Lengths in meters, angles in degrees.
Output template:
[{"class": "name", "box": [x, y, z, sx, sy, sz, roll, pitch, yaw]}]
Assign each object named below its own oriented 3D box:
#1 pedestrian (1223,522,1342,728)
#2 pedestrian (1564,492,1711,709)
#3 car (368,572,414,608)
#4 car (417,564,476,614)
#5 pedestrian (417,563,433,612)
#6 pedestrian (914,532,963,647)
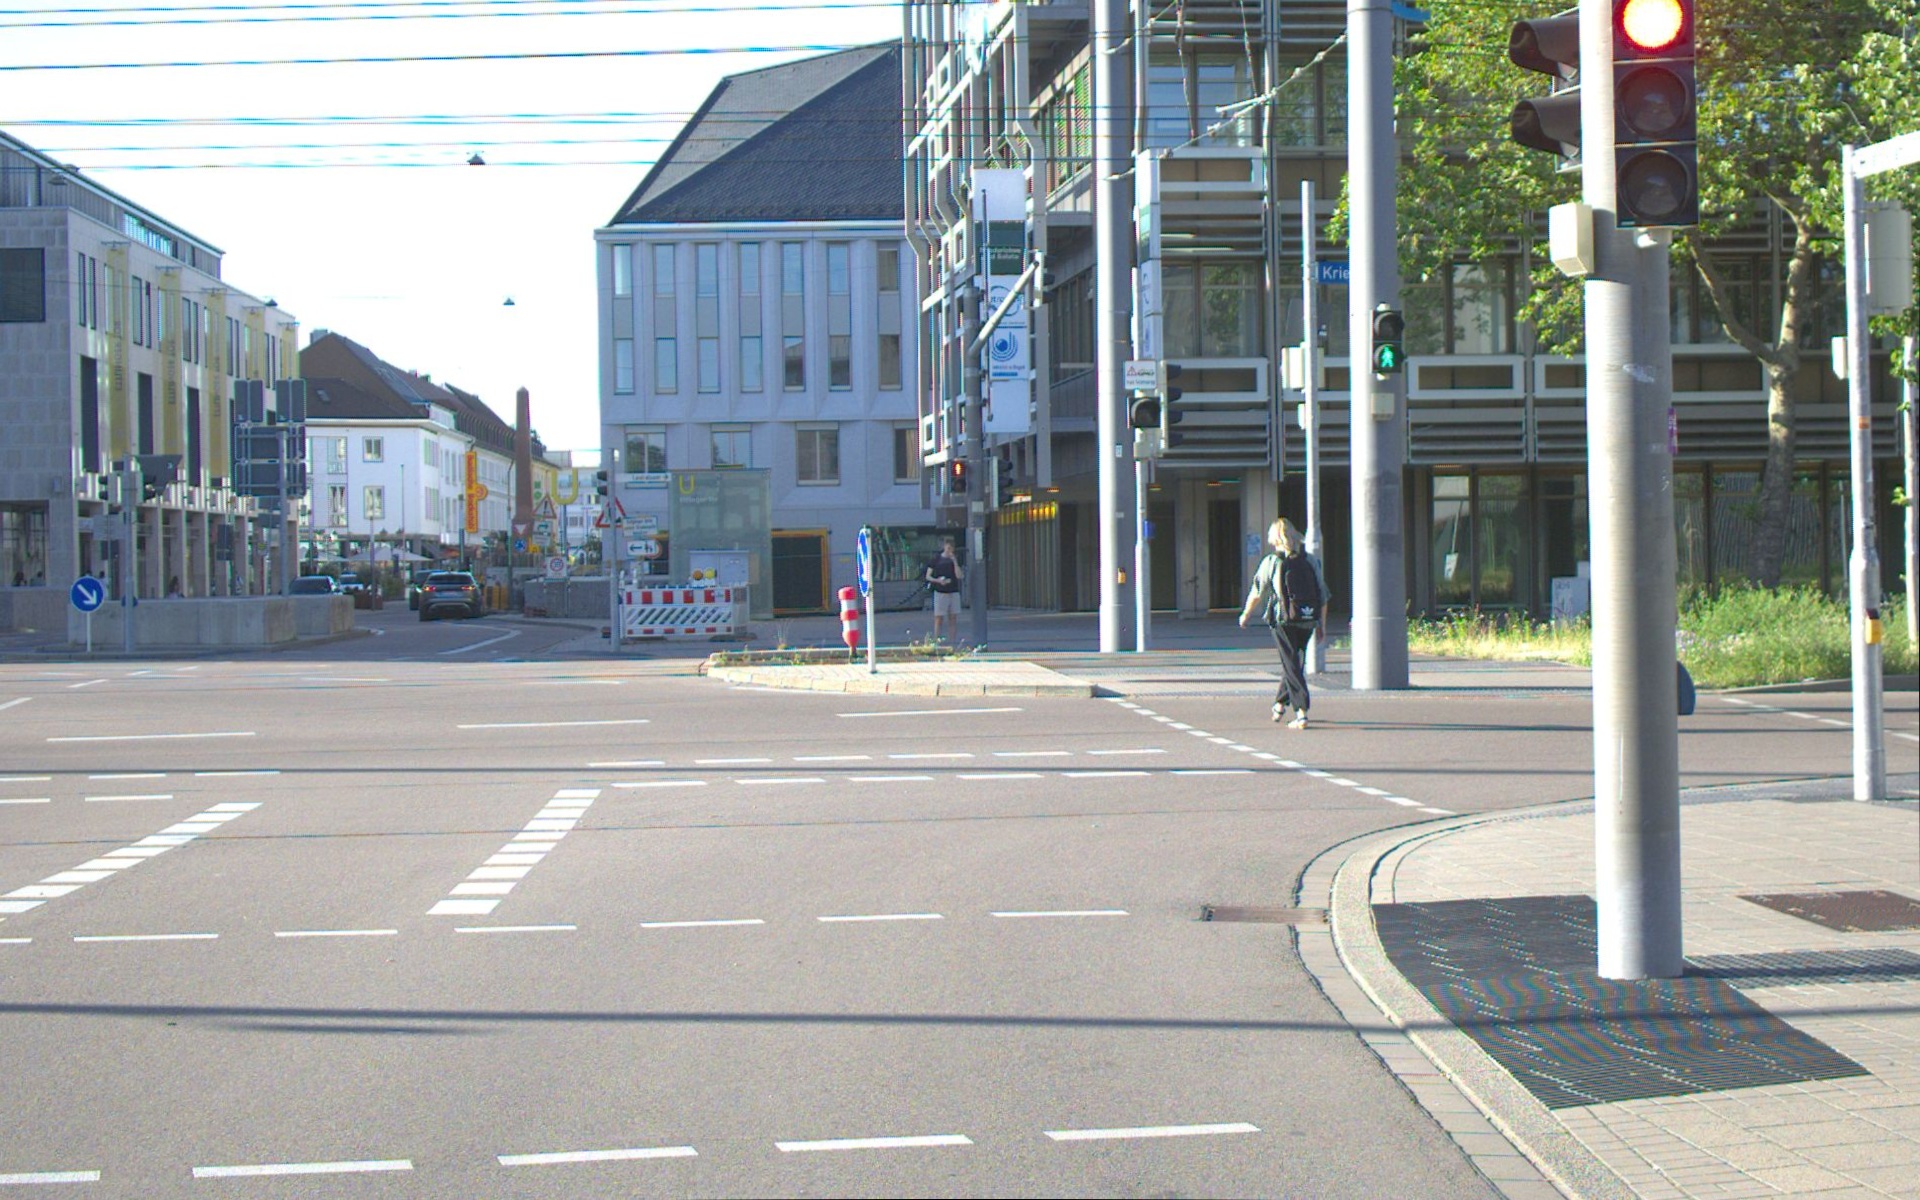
[{"class": "pedestrian", "box": [2.369, 0.180, 25.322, 0.788, 1.487, 0.644, 1, 0, -1]}, {"class": "pedestrian", "box": [5.314, -0.002, 27.007, 0.878, 1.659, 0.965, 1, 0, -4]}, {"class": "car", "box": [-27.067, -0.476, 163.543, 1.797, 1.652, 4.001, 1, 1, -4]}, {"class": "car", "box": [-16.138, -0.371, 108.206, 1.737, 1.525, 3.856, 1, 1, -7]}, {"class": "pedestrian", "box": [-18.249, -0.434, 117.242, 0.521, 1.674, 0.583, 1, 1, -7]}, {"class": "pedestrian", "box": [-0.365, -0.175, 57.311, 0.788, 1.883, 0.644, 1, 0, -1]}]
